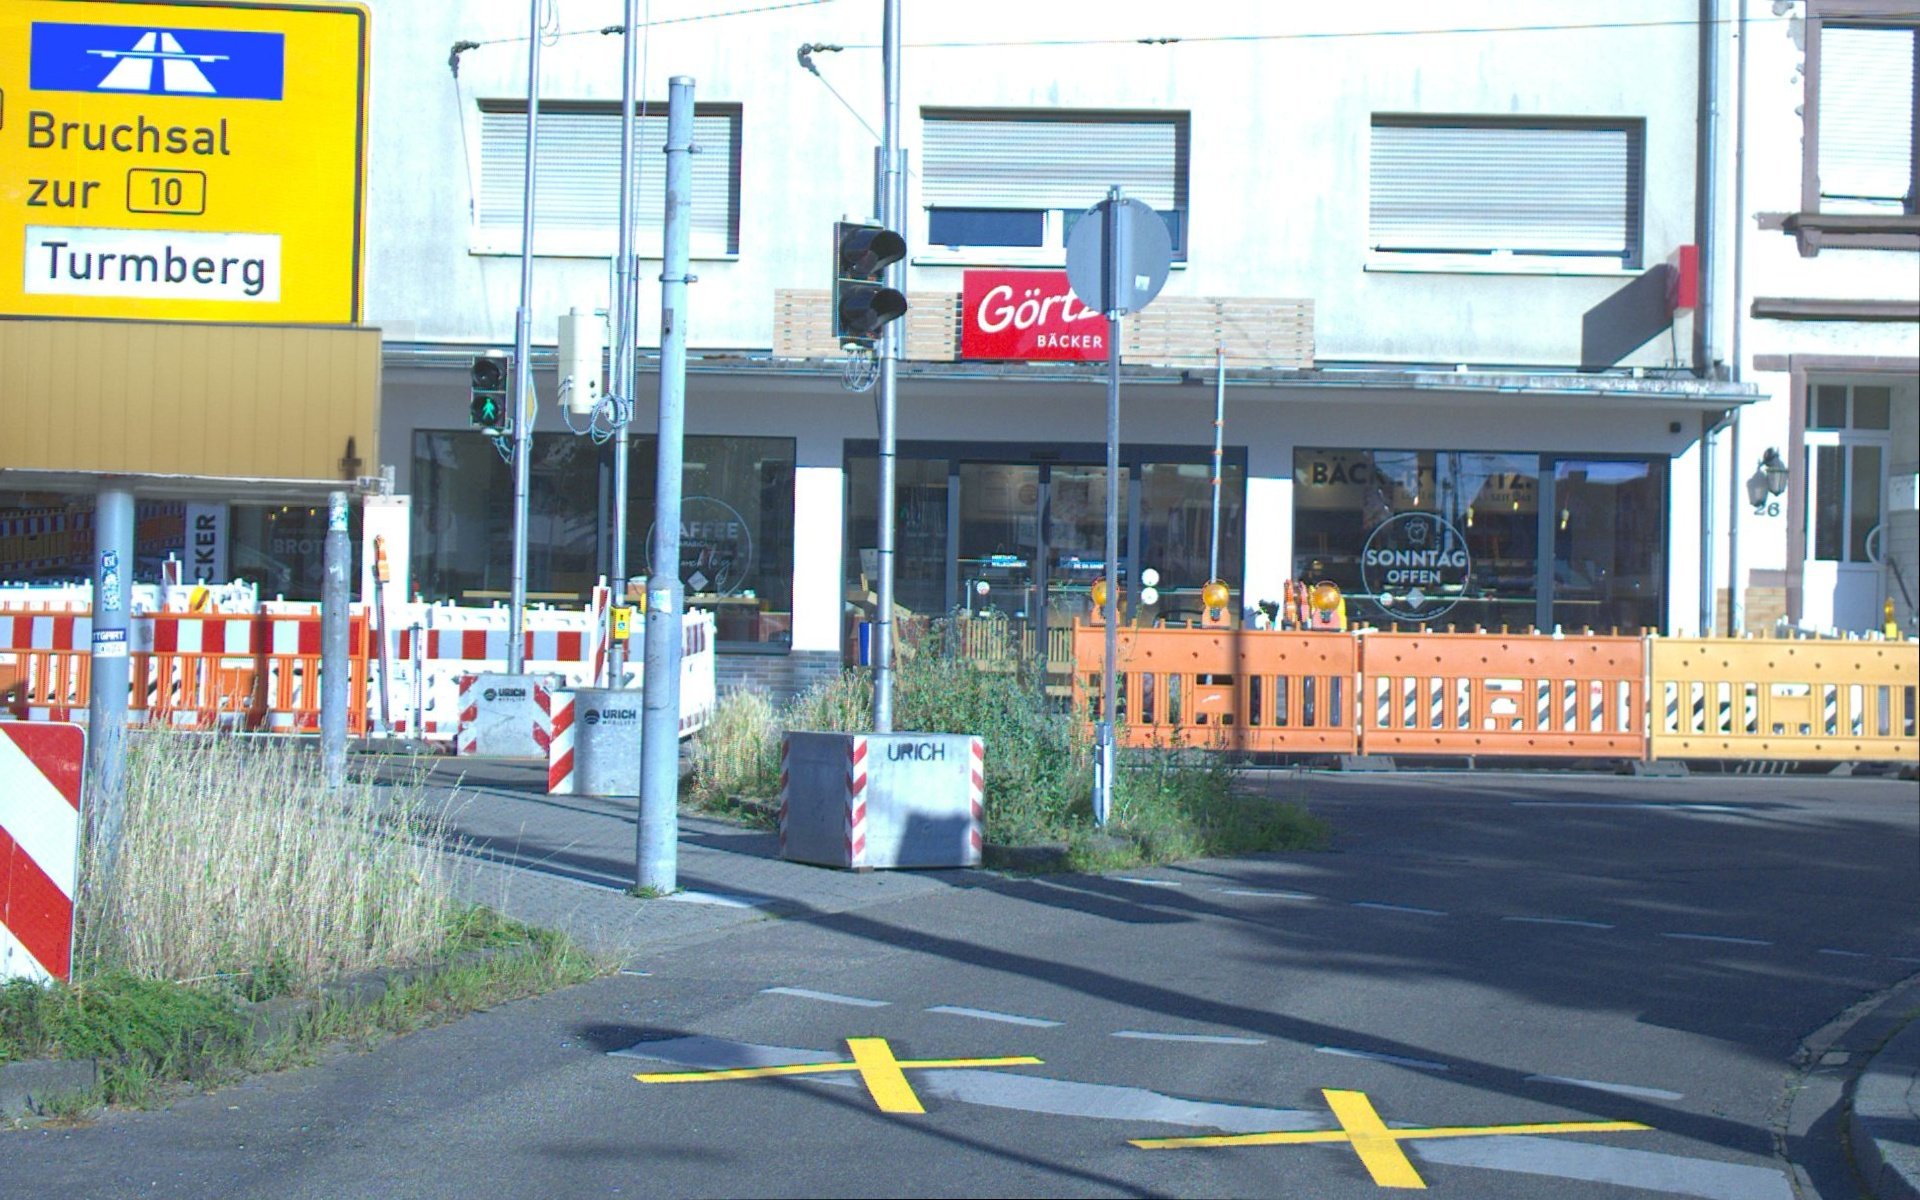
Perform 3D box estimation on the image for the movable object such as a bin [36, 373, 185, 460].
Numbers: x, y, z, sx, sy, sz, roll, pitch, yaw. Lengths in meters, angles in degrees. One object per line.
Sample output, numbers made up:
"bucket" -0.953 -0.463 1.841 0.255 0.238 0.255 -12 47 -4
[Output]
"movable object such as a bin" -23.606 -5.077 95.797 2.565 2.114 5.784 1 0 1
